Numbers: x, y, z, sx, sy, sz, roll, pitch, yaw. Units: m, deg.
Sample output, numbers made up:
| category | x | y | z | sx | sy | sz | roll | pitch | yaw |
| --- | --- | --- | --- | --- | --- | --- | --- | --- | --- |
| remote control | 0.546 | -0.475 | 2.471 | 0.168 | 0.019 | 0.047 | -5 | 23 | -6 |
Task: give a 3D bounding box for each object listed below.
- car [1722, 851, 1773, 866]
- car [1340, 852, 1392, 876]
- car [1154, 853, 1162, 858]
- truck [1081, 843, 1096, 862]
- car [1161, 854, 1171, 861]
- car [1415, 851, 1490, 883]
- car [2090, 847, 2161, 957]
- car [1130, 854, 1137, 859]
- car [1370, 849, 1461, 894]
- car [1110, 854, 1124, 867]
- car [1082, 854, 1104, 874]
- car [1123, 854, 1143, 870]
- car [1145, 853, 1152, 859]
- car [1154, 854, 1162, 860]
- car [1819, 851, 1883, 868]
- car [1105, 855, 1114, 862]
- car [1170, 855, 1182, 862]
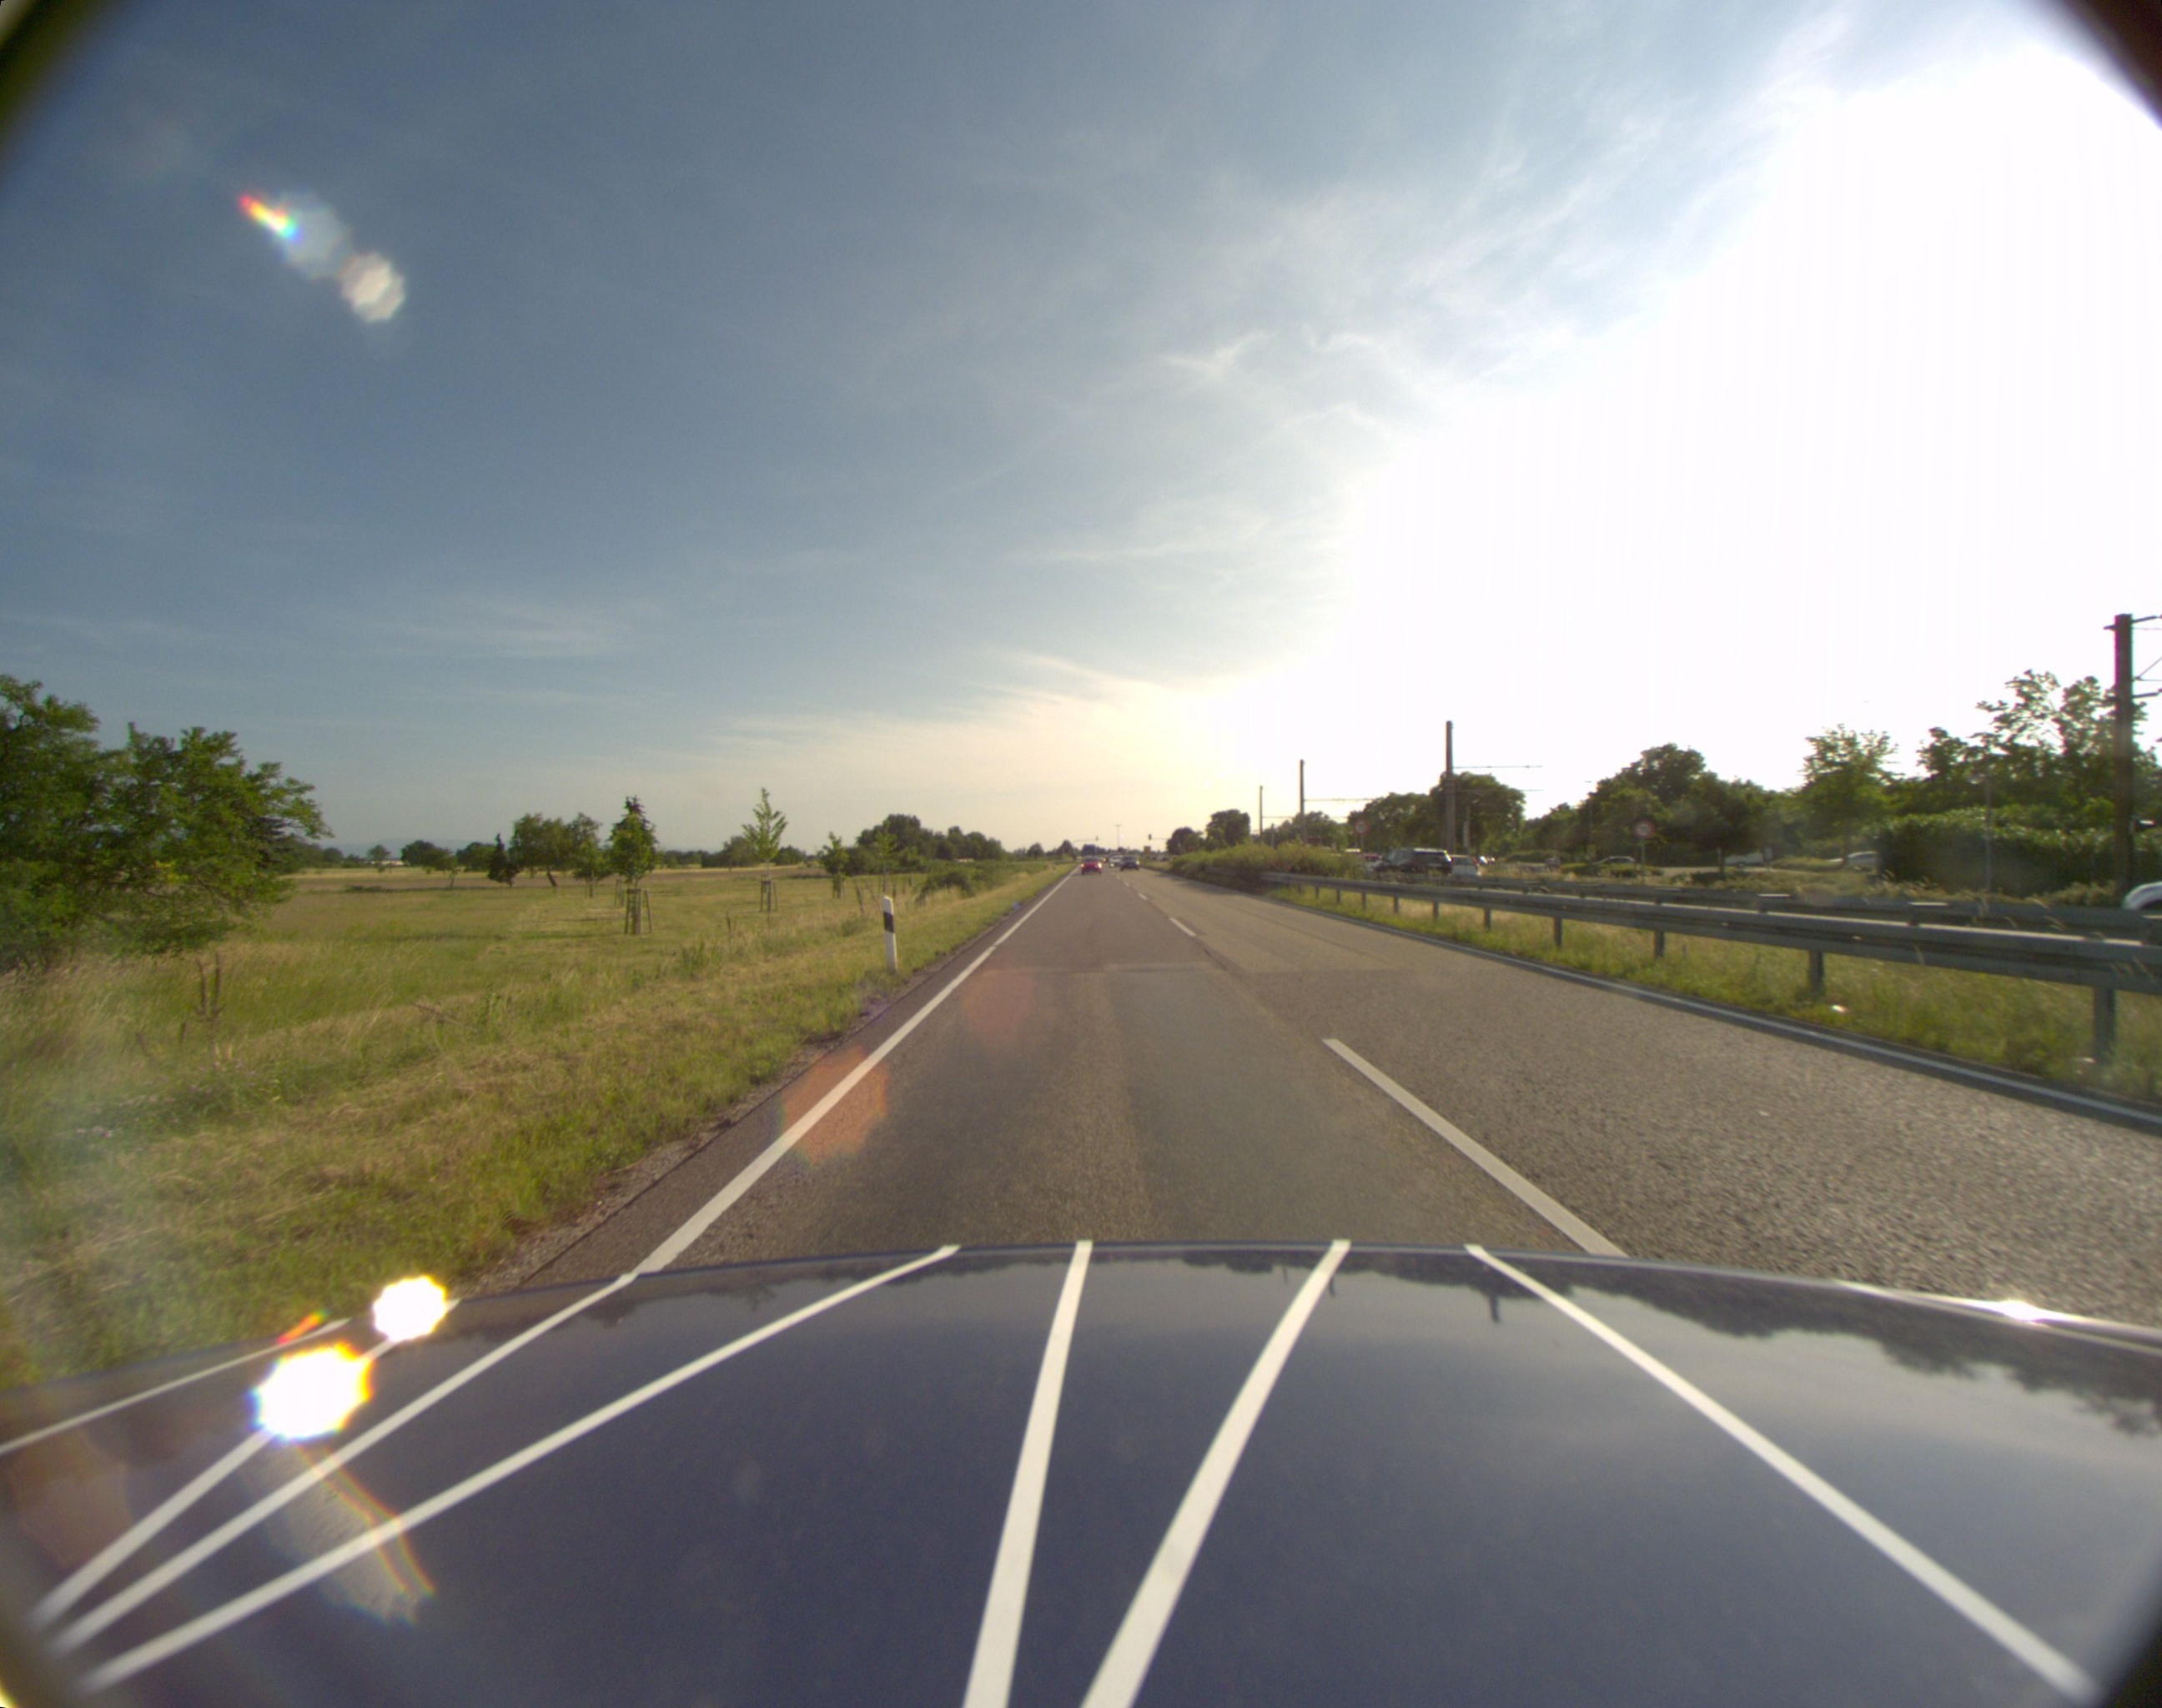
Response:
| category | x | y | z | sx | sy | sz | roll | pitch | yaw |
| --- | --- | --- | --- | --- | --- | --- | --- | --- | --- |
| car | 64.868 | 0.455 | 74.012 | 3.611 | 1.358 | 1.739 | 2 | 0 | 38 |
| car | 17.002 | 0.564 | 45.530 | 1.733 | 1.358 | 3.622 | 2 | 0 | 1 |
| car | 20.769 | 0.467 | 204.282 | 1.664 | 1.373 | 4.000 | 1 | 0 | 1 |
| truck | 1.696 | -0.326 | 162.213 | 2.849 | 3.896 | 10.104 | -2 | 0 | 1 |
| car | 18.939 | 0.752 | 168.974 | 1.664 | 1.407 | 4.975 | 1 | 0 | 1 |
| car | 17.322 | 0.575 | 35.614 | 1.733 | 1.358 | 3.622 | 2 | 0 | 1 |
| car | 16.828 | 0.696 | 9.801 | 1.719 | 1.602 | 4.446 | -2 | 0 | 1 |
| car | 15.085 | 0.768 | 216.860 | 1.823 | 1.461 | 4.294 | 1 | 0 | 1 |
| car | 13.242 | 0.640 | 30.402 | 1.733 | 1.624 | 4.319 | 2 | 0 | 1 |
| car | 4.477 | 0.799 | 94.272 | 1.636 | 1.442 | 4.000 | -2 | 0 | 1 |
| car | 0.989 | 0.801 | 63.147 | 1.735 | 1.467 | 4.000 | -2 | 0 | 1 |
| car | 5.006 | 0.739 | 73.708 | 1.636 | 1.500 | 4.000 | -2 | 0 | 1 |
| car | 19.737 | 0.628 | 223.211 | 1.801 | 1.580 | 4.000 | 1 | 0 | 1 |
| car | 18.756 | 0.728 | 185.176 | 1.664 | 1.373 | 4.468 | 1 | 0 | 1 |
| car | 64.723 | 0.471 | 63.963 | 1.733 | 1.358 | 3.622 | 2 | 0 | 1 |
| car | 5.511 | 0.858 | 146.925 | 1.636 | 1.442 | 4.000 | -2 | 0 | 1 |
| car | 18.660 | 0.805 | 149.405 | 1.664 | 1.373 | 4.541 | 1 | 0 | 1 |
